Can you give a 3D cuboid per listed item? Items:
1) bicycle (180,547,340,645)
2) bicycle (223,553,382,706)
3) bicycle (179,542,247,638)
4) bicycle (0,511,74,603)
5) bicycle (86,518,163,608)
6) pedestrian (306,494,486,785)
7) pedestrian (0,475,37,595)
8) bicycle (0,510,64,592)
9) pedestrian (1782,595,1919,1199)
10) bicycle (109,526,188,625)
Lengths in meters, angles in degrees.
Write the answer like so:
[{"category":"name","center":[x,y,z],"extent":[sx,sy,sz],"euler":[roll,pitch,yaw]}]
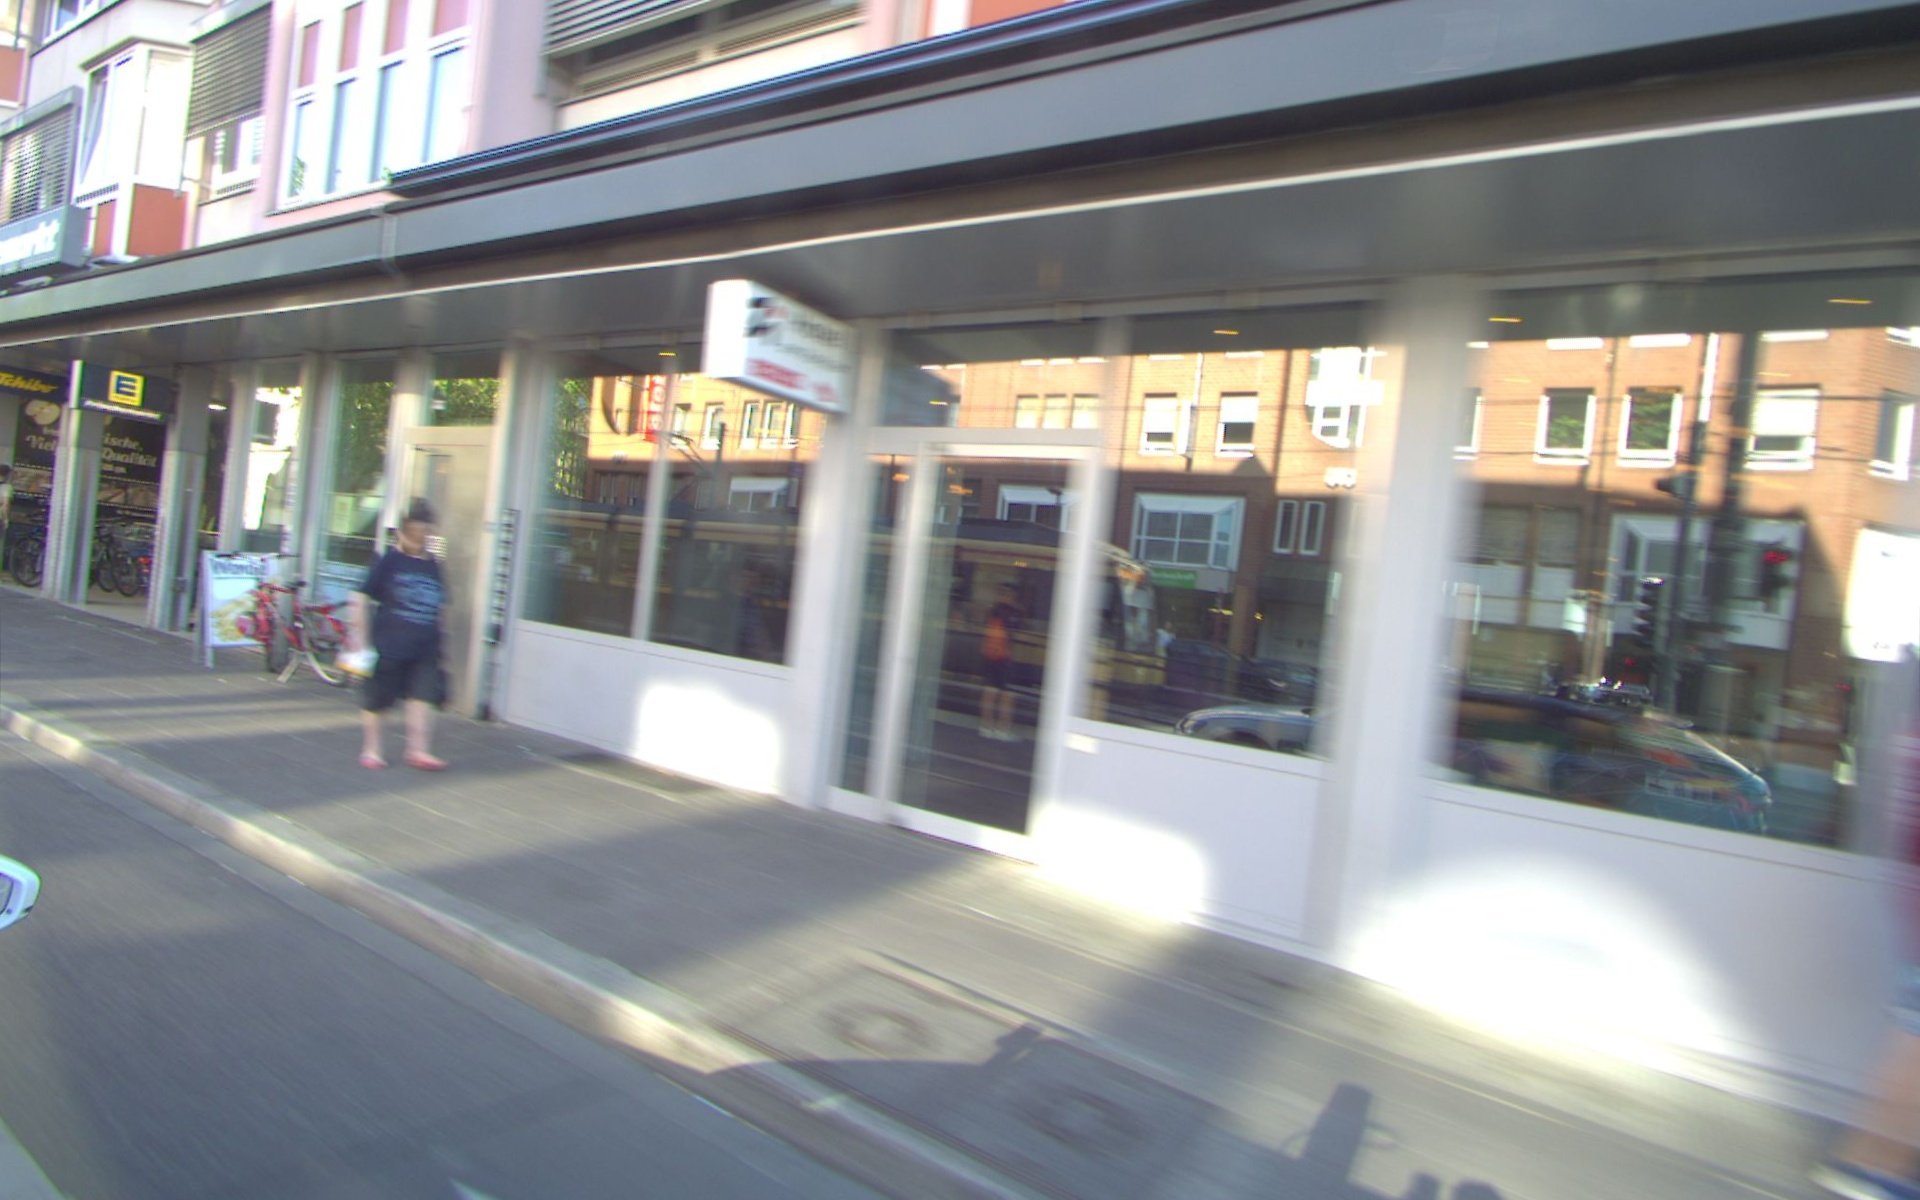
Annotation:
[{"category":"bicycle","center":[-8.656,-0.025,12.499],"extent":[0.427,1.054,1.512],"euler":[8,0,30]},{"category":"bicycle","center":[-5.663,0.237,8.644],"extent":[1.383,1.141,0.516],"euler":[6,0,32]},{"category":"bicycle","center":[-10.692,-0.178,14.446],"extent":[0.551,1.252,2.066],"euler":[6,0,-33]},{"category":"bicycle","center":[-14.093,-0.659,15.355],"extent":[0.466,1.267,2.066],"euler":[6,0,-33]},{"category":"bicycle","center":[-13.149,-0.592,15.880],"extent":[0.571,1.268,2.098],"euler":[8,-2,-33]},{"category":"pedestrian","center":[-3.408,0.227,6.101],"extent":[0.487,1.634,0.707],"euler":[7,2,32]},{"category":"pedestrian","center":[-14.301,-0.976,14.819],"extent":[0.580,1.744,0.788],"euler":[7,3,14]},{"category":"bicycle","center":[-15.121,-0.786,16.111],"extent":[0.403,1.252,1.383],"euler":[6,0,-10]},{"category":"pedestrian","center":[2.978,0.928,2.884],"extent":[0.668,1.782,0.671],"euler":[7,-1,26]},{"category":"bicycle","center":[-11.406,-0.366,14.186],"extent":[0.551,1.252,2.066],"euler":[6,0,-33]}]
